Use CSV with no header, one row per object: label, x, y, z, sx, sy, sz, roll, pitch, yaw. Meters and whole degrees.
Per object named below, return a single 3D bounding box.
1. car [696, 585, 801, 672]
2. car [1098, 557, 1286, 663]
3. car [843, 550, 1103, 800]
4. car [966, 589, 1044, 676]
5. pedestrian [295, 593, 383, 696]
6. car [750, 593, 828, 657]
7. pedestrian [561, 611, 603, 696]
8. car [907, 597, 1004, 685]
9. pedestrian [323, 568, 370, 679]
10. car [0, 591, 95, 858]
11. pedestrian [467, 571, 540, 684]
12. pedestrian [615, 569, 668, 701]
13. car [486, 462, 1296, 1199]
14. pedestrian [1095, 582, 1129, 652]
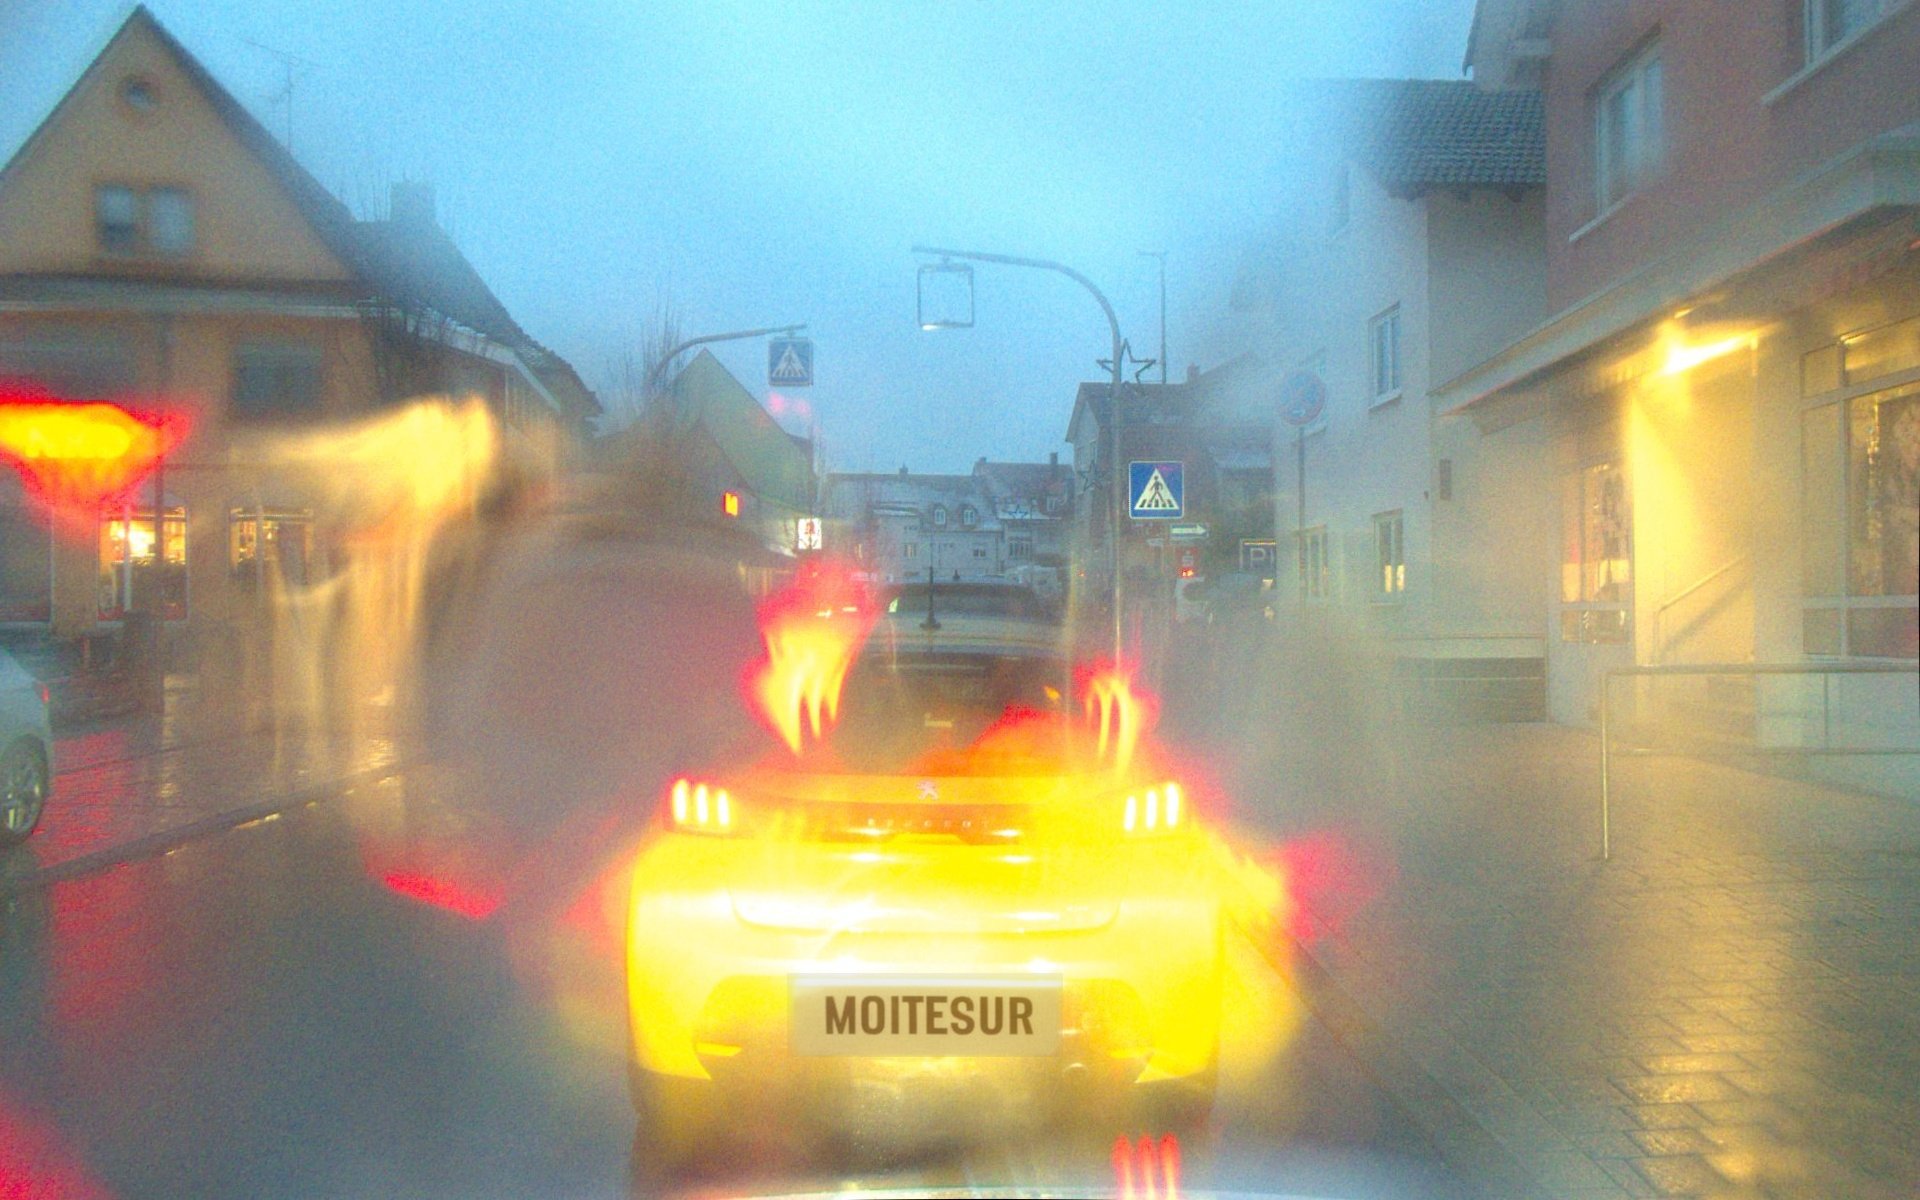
car,-5.198,0.678,41.143,1.952,2.049,4.362,0,0,1
car,4.653,0.198,33.526,3.620,2.049,1.690,1,-1,2
car,0.113,0.524,13.291,1.761,1.691,4.000,1,0,1
car,1.098,0.775,41.961,1.609,2.049,3.998,-2,0,-3
pedestrian,-9.409,0.667,25.073,0.872,1.442,0.776,6,-1,4
car,-4.929,0.698,48.197,1.953,1.783,4.359,0,0,-2
pedestrian,-5.575,0.785,24.432,0.542,1.254,0.433,0,0,-5
car,-0.029,0.758,32.844,1.789,1.629,4.582,0,0,1
pedestrian,-9.950,0.381,26.832,0.577,1.773,0.683,0,0,-8
car,-6.378,0.707,8.626,1.636,1.543,3.999,2,0,-1
pedestrian,-7.393,0.431,26.840,0.955,1.773,0.960,1,1,-6
pedestrian,-4.686,0.510,24.371,0.689,1.909,0.616,1,1,-7
car,-0.087,0.558,6.328,1.952,1.827,4.650,0,1,2
pedestrian,4.527,0.503,49.226,0.995,2.049,1.276,0,0,4
